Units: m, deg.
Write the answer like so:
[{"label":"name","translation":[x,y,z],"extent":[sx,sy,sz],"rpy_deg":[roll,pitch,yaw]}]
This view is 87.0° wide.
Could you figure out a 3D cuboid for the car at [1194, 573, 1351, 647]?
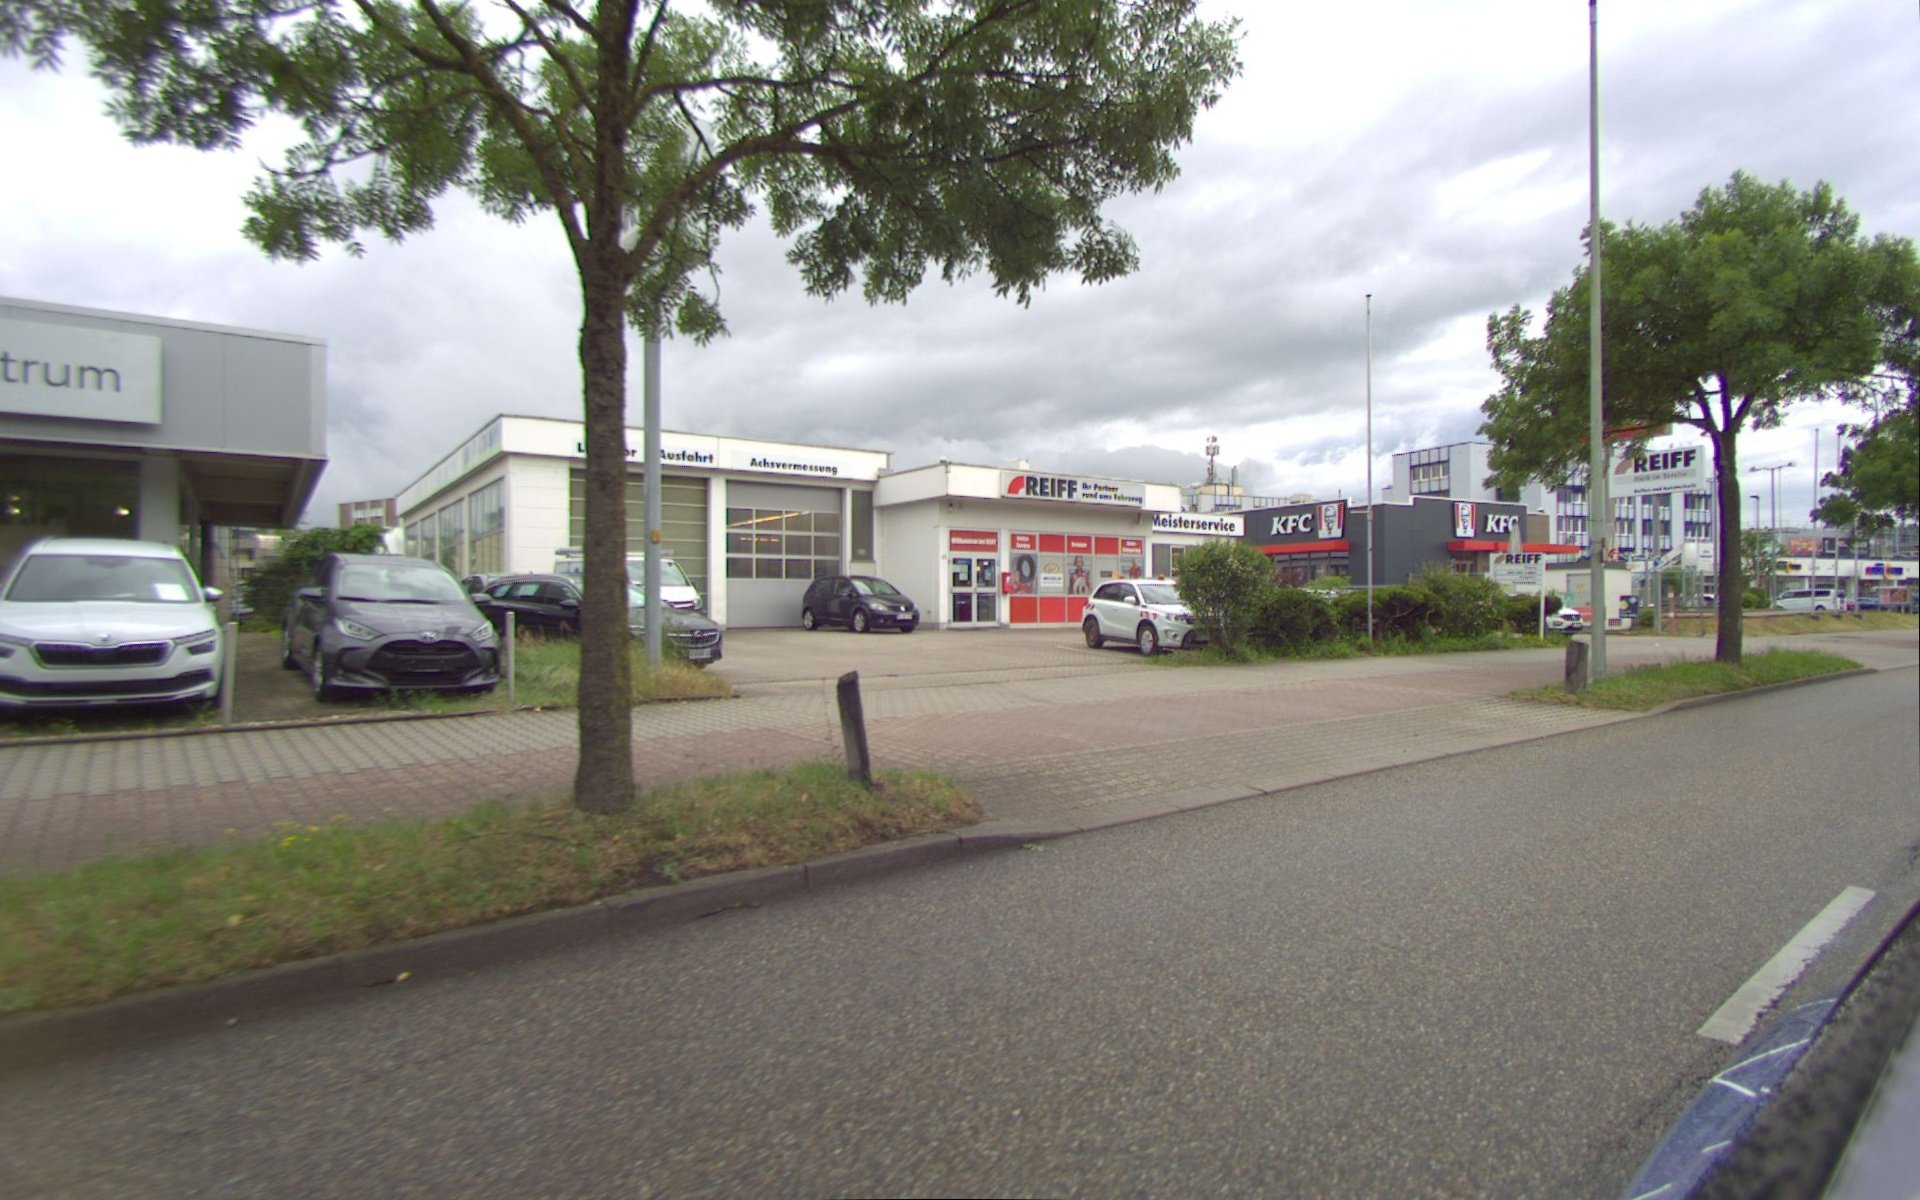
[{"label":"car","translation":[7.795,0.208,25.677],"extent":[1.783,1.683,4.165],"rpy_deg":[2,0,-16]}]

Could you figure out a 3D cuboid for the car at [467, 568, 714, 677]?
[{"label":"car","translation":[-5.842,0.280,15.929],"extent":[3.662,1.482,1.774],"rpy_deg":[2,1,32]}]

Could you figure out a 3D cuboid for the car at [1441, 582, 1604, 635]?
[{"label":"car","translation":[17.814,0.240,32.240],"extent":[1.852,1.571,4.192],"rpy_deg":[0,1,-31]}]

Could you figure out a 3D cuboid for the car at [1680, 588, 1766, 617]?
[{"label":"car","translation":[51.254,0.129,68.095],"extent":[1.762,1.806,4.255],"rpy_deg":[3,0,-27]}]

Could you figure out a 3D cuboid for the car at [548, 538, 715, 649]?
[{"label":"car","translation":[-7.356,-0.168,22.347],"extent":[1.930,2.176,4.663],"rpy_deg":[0,1,-40]}]

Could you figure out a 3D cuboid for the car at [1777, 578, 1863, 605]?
[{"label":"car","translation":[67.082,-0.692,79.032],"extent":[1.958,2.039,4.797],"rpy_deg":[1,1,-23]}]

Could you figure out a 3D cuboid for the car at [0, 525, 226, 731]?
[{"label":"car","translation":[-8.547,0.125,10.190],"extent":[1.779,1.562,4.001],"rpy_deg":[0,5,-37]}]

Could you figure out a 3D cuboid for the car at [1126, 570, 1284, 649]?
[{"label":"car","translation":[5.722,0.180,24.183],"extent":[1.783,1.683,4.165],"rpy_deg":[2,0,-16]}]

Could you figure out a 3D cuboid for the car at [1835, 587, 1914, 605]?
[{"label":"car","translation":[74.221,-0.339,82.189],"extent":[1.785,1.411,4.383],"rpy_deg":[0,1,-24]}]

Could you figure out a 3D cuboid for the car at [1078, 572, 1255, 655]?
[{"label":"car","translation":[4.331,0.227,21.892],"extent":[1.943,1.617,4.077],"rpy_deg":[0,1,-19]}]

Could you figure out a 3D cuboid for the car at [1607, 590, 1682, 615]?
[{"label":"car","translation":[48.710,0.149,72.094],"extent":[1.787,1.730,4.006],"rpy_deg":[0,1,-27]}]

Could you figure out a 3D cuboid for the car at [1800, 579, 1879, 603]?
[{"label":"car","translation":[69.981,-0.758,80.567],"extent":[1.857,1.843,4.383],"rpy_deg":[0,1,-24]}]

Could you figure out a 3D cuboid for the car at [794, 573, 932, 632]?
[{"label":"car","translation":[-2.758,0.046,28.074],"extent":[1.949,1.522,4.064],"rpy_deg":[0,0,-38]}]

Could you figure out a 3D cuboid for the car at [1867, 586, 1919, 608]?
[{"label":"car","translation":[79.124,-0.264,84.752],"extent":[1.857,1.786,4.383],"rpy_deg":[0,1,-24]}]

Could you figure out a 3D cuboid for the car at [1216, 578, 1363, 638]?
[{"label":"car","translation":[9.219,0.182,28.641],"extent":[1.697,1.542,3.948],"rpy_deg":[0,1,-25]}]

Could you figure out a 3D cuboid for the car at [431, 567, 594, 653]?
[{"label":"car","translation":[-9.086,0.134,20.332],"extent":[1.963,1.517,4.666],"rpy_deg":[0,1,-37]}]

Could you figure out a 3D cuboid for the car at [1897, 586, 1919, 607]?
[{"label":"car","translation":[83.477,-0.298,86.616],"extent":[1.857,1.786,4.383],"rpy_deg":[0,1,-24]}]

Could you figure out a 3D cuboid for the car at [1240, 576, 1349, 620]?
[{"label":"car","translation":[13.761,-0.106,41.835],"extent":[1.918,1.701,4.004],"rpy_deg":[0,1,-30]}]

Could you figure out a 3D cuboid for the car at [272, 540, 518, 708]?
[{"label":"car","translation":[-6.647,0.145,11.713],"extent":[1.795,1.479,3.843],"rpy_deg":[0,4,-40]}]
